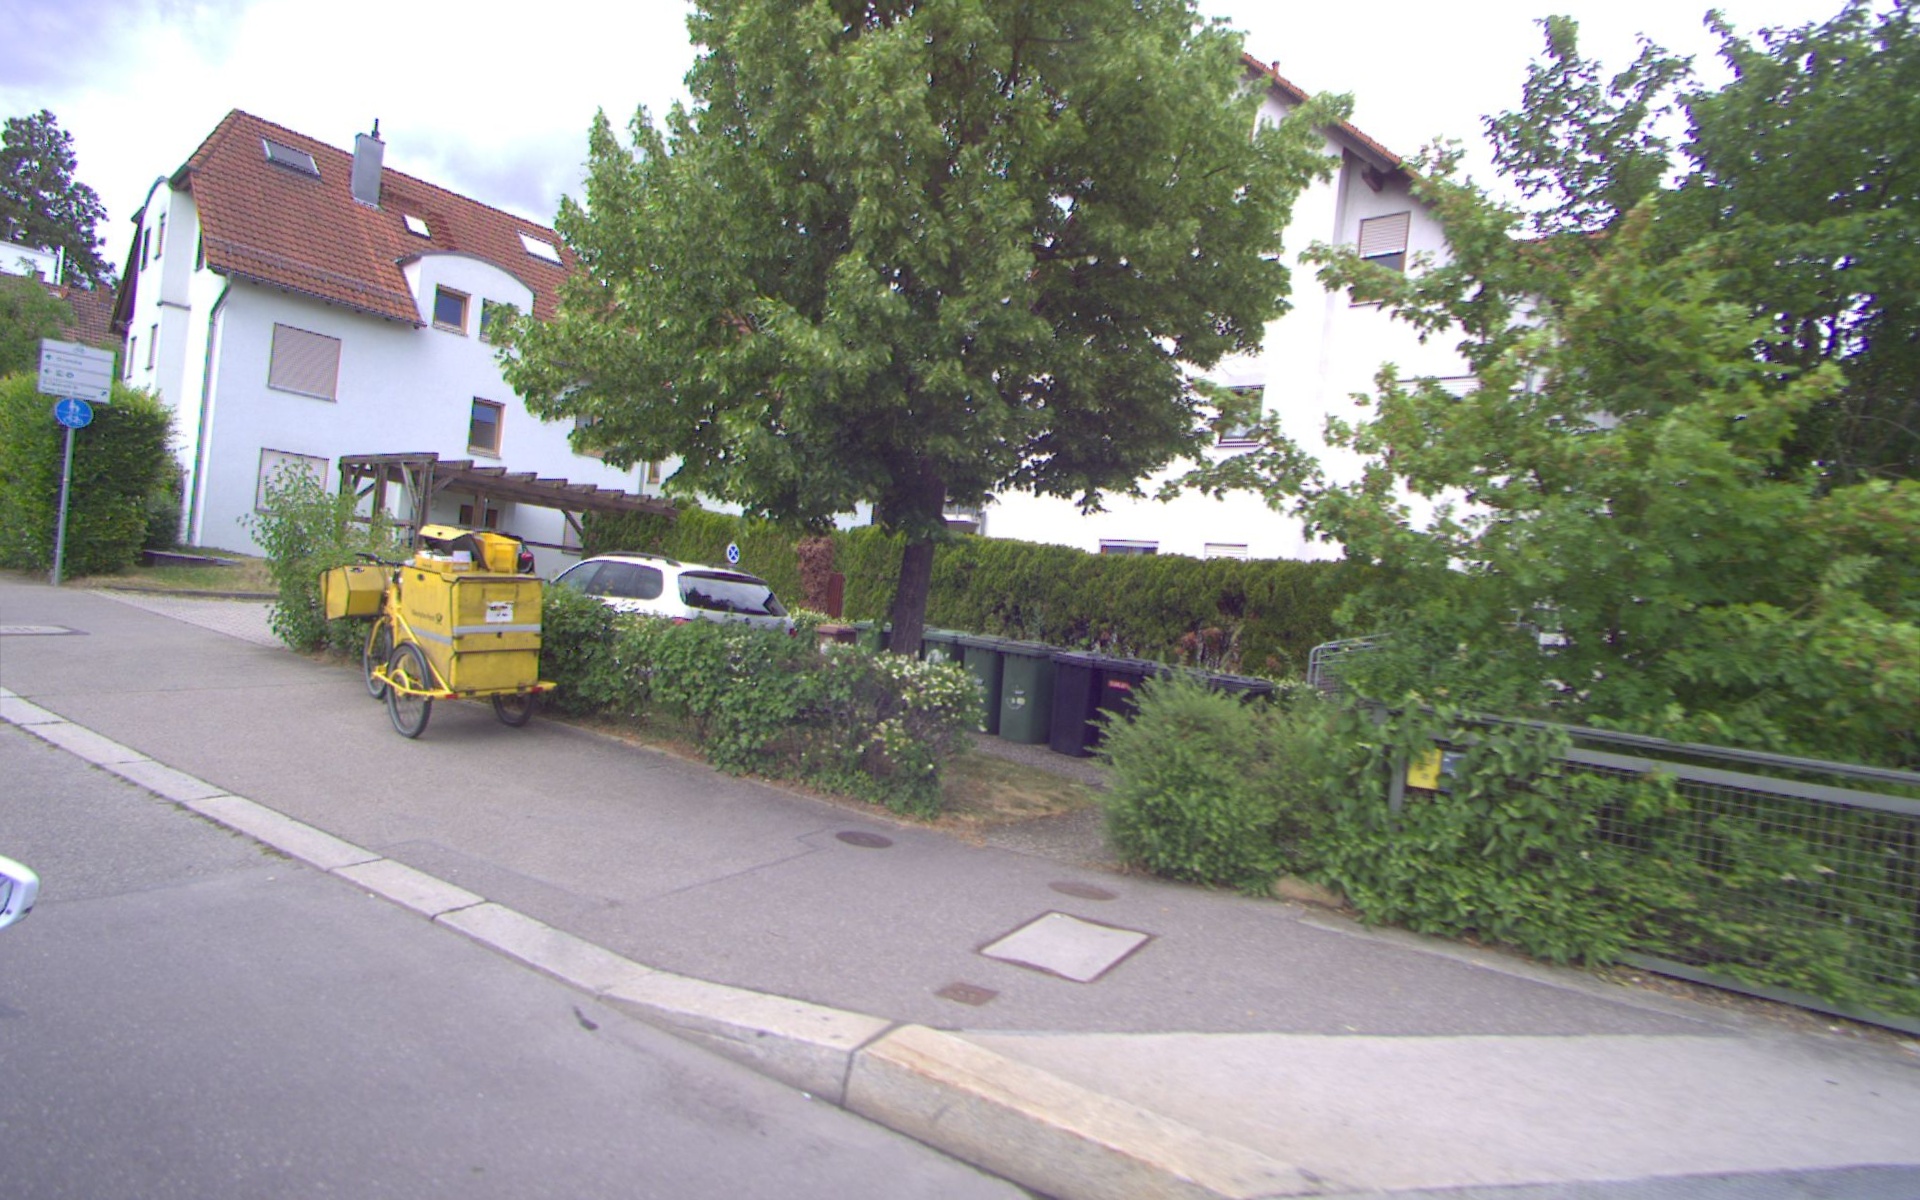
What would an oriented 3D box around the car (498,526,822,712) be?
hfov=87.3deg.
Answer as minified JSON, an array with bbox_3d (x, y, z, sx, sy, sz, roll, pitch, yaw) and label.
[{"bbox_3d":[-3.553,0.142,11.483,4.005,1.523,1.667,9,1,44],"label":"car"}]

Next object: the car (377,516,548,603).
[{"bbox_3d":[-10.748,-0.887,21.639,3.940,1.468,1.666,6,1,38],"label":"car"}]

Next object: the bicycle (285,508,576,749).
[{"bbox_3d":[-4.290,0.130,8.008,2.739,1.532,0.890,7,5,36],"label":"bicycle"}]
